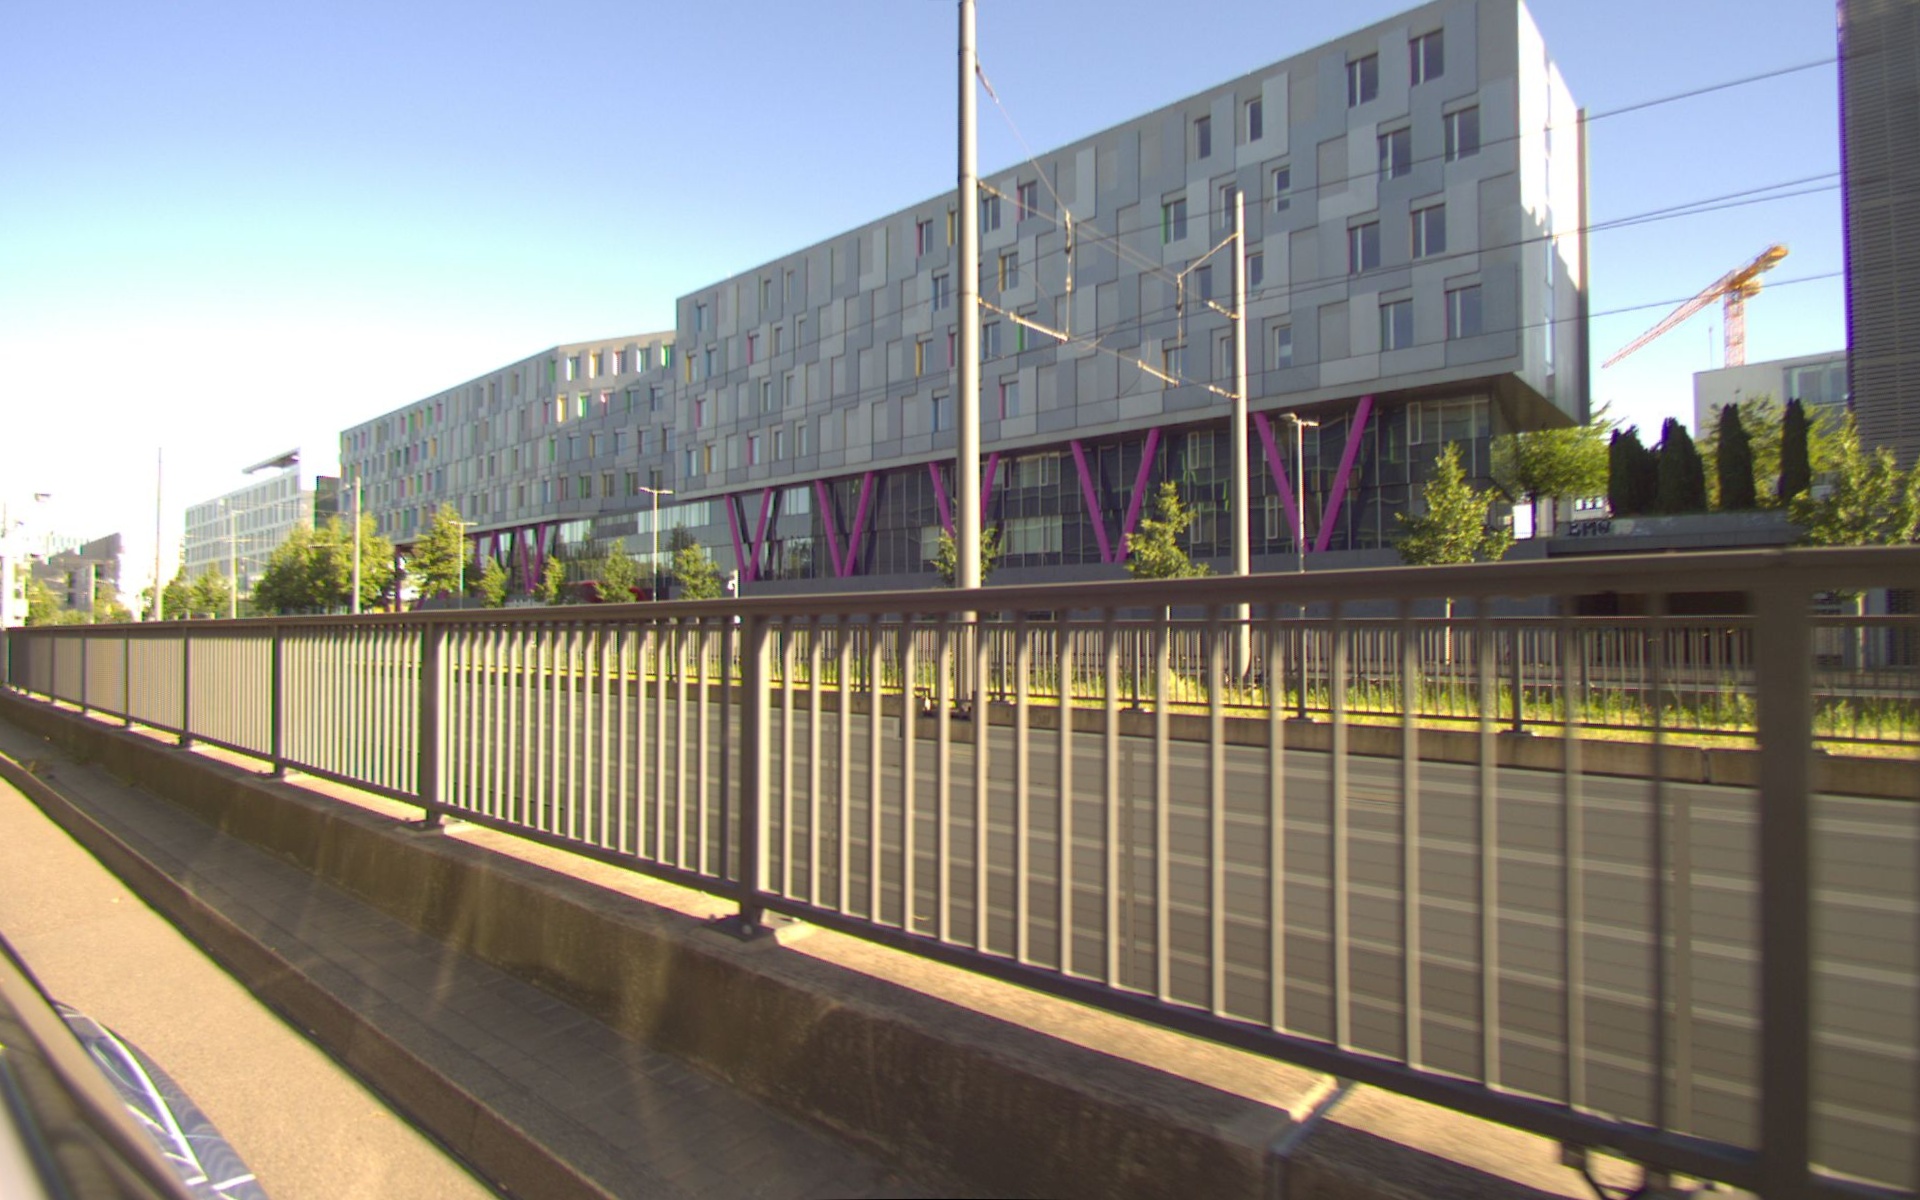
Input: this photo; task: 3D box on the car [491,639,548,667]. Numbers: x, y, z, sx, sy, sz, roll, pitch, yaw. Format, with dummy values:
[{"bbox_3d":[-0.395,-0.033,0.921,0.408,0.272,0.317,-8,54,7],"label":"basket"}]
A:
[{"bbox_3d":[-29.322,3.508,67.348,3.998,1.853,1.973,-2,-4,41],"label":"car"}]
